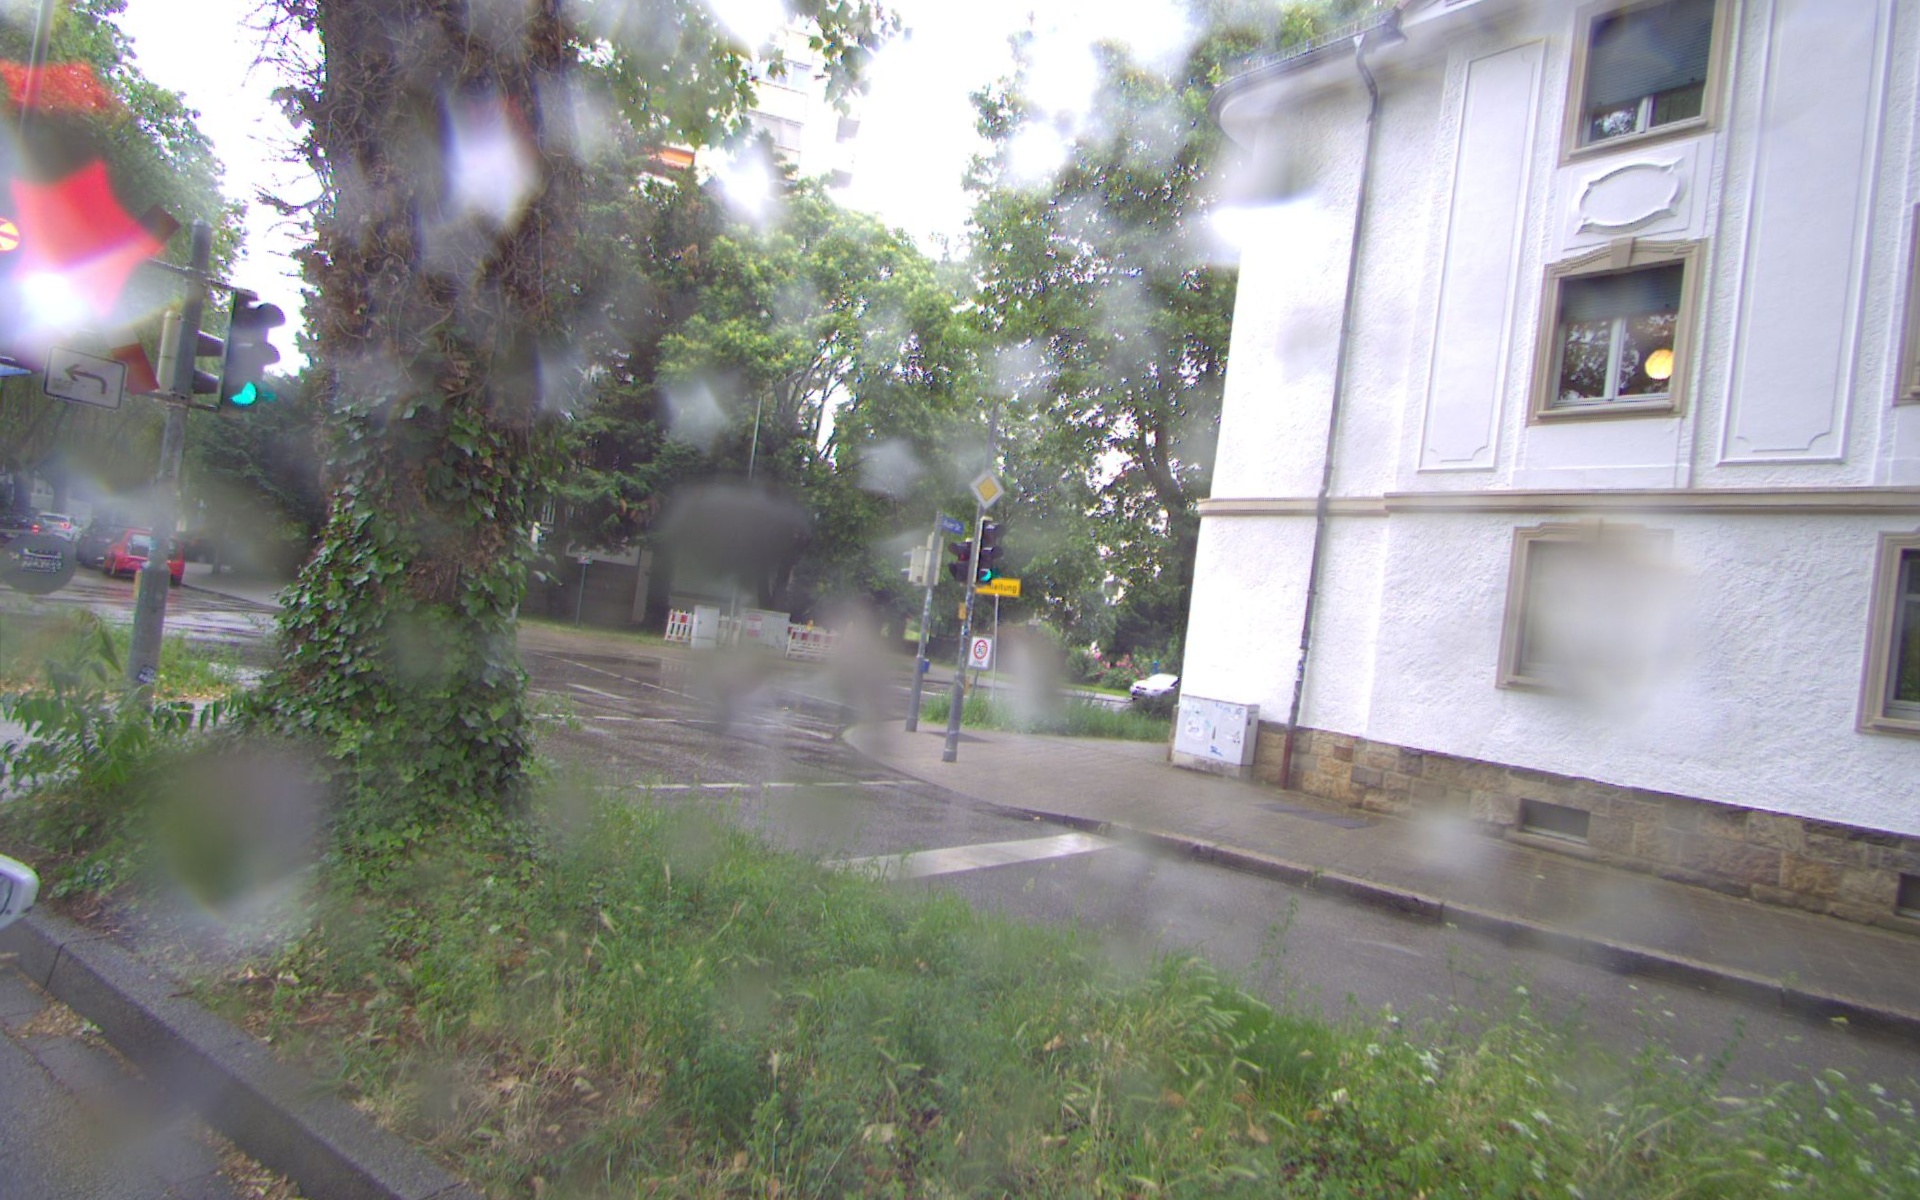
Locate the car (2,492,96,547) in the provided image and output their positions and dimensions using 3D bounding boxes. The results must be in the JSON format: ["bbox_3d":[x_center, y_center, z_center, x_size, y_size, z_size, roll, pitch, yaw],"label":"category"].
[{"bbox_3d":[-61.106,-5.392,67.532,4.680,2.982,2.043,7,-1,12],"label":"car"}]

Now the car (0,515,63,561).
[{"bbox_3d":[-36.787,-2.444,39.661,1.673,1.491,3.627,9,-2,-37],"label":"car"}]

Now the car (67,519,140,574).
[{"bbox_3d":[-32.971,-2.068,38.696,1.779,1.747,3.951,9,-2,-44],"label":"car"}]

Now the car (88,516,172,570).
[{"bbox_3d":[-28.094,-1.937,34.000,1.780,1.363,3.879,10,-2,-44],"label":"car"}]

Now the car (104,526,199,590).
[{"bbox_3d":[-24.827,-1.309,30.843,1.788,1.515,3.950,10,-2,-44],"label":"car"}]

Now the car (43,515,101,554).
[{"bbox_3d":[-45.806,-3.365,51.939,1.766,1.697,3.960,8,-2,-37],"label":"car"}]

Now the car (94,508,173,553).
[{"bbox_3d":[-69.644,-5.841,84.814,4.683,2.982,2.001,7,-1,1],"label":"car"}]

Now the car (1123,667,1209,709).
[{"bbox_3d":[9.414,4.008,45.805,1.829,1.473,3.979,6,-3,45],"label":"car"}]

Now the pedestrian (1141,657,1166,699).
[{"bbox_3d":[9.199,3.724,47.885,0.670,1.863,0.713,6,-1,44],"label":"pedestrian"}]
